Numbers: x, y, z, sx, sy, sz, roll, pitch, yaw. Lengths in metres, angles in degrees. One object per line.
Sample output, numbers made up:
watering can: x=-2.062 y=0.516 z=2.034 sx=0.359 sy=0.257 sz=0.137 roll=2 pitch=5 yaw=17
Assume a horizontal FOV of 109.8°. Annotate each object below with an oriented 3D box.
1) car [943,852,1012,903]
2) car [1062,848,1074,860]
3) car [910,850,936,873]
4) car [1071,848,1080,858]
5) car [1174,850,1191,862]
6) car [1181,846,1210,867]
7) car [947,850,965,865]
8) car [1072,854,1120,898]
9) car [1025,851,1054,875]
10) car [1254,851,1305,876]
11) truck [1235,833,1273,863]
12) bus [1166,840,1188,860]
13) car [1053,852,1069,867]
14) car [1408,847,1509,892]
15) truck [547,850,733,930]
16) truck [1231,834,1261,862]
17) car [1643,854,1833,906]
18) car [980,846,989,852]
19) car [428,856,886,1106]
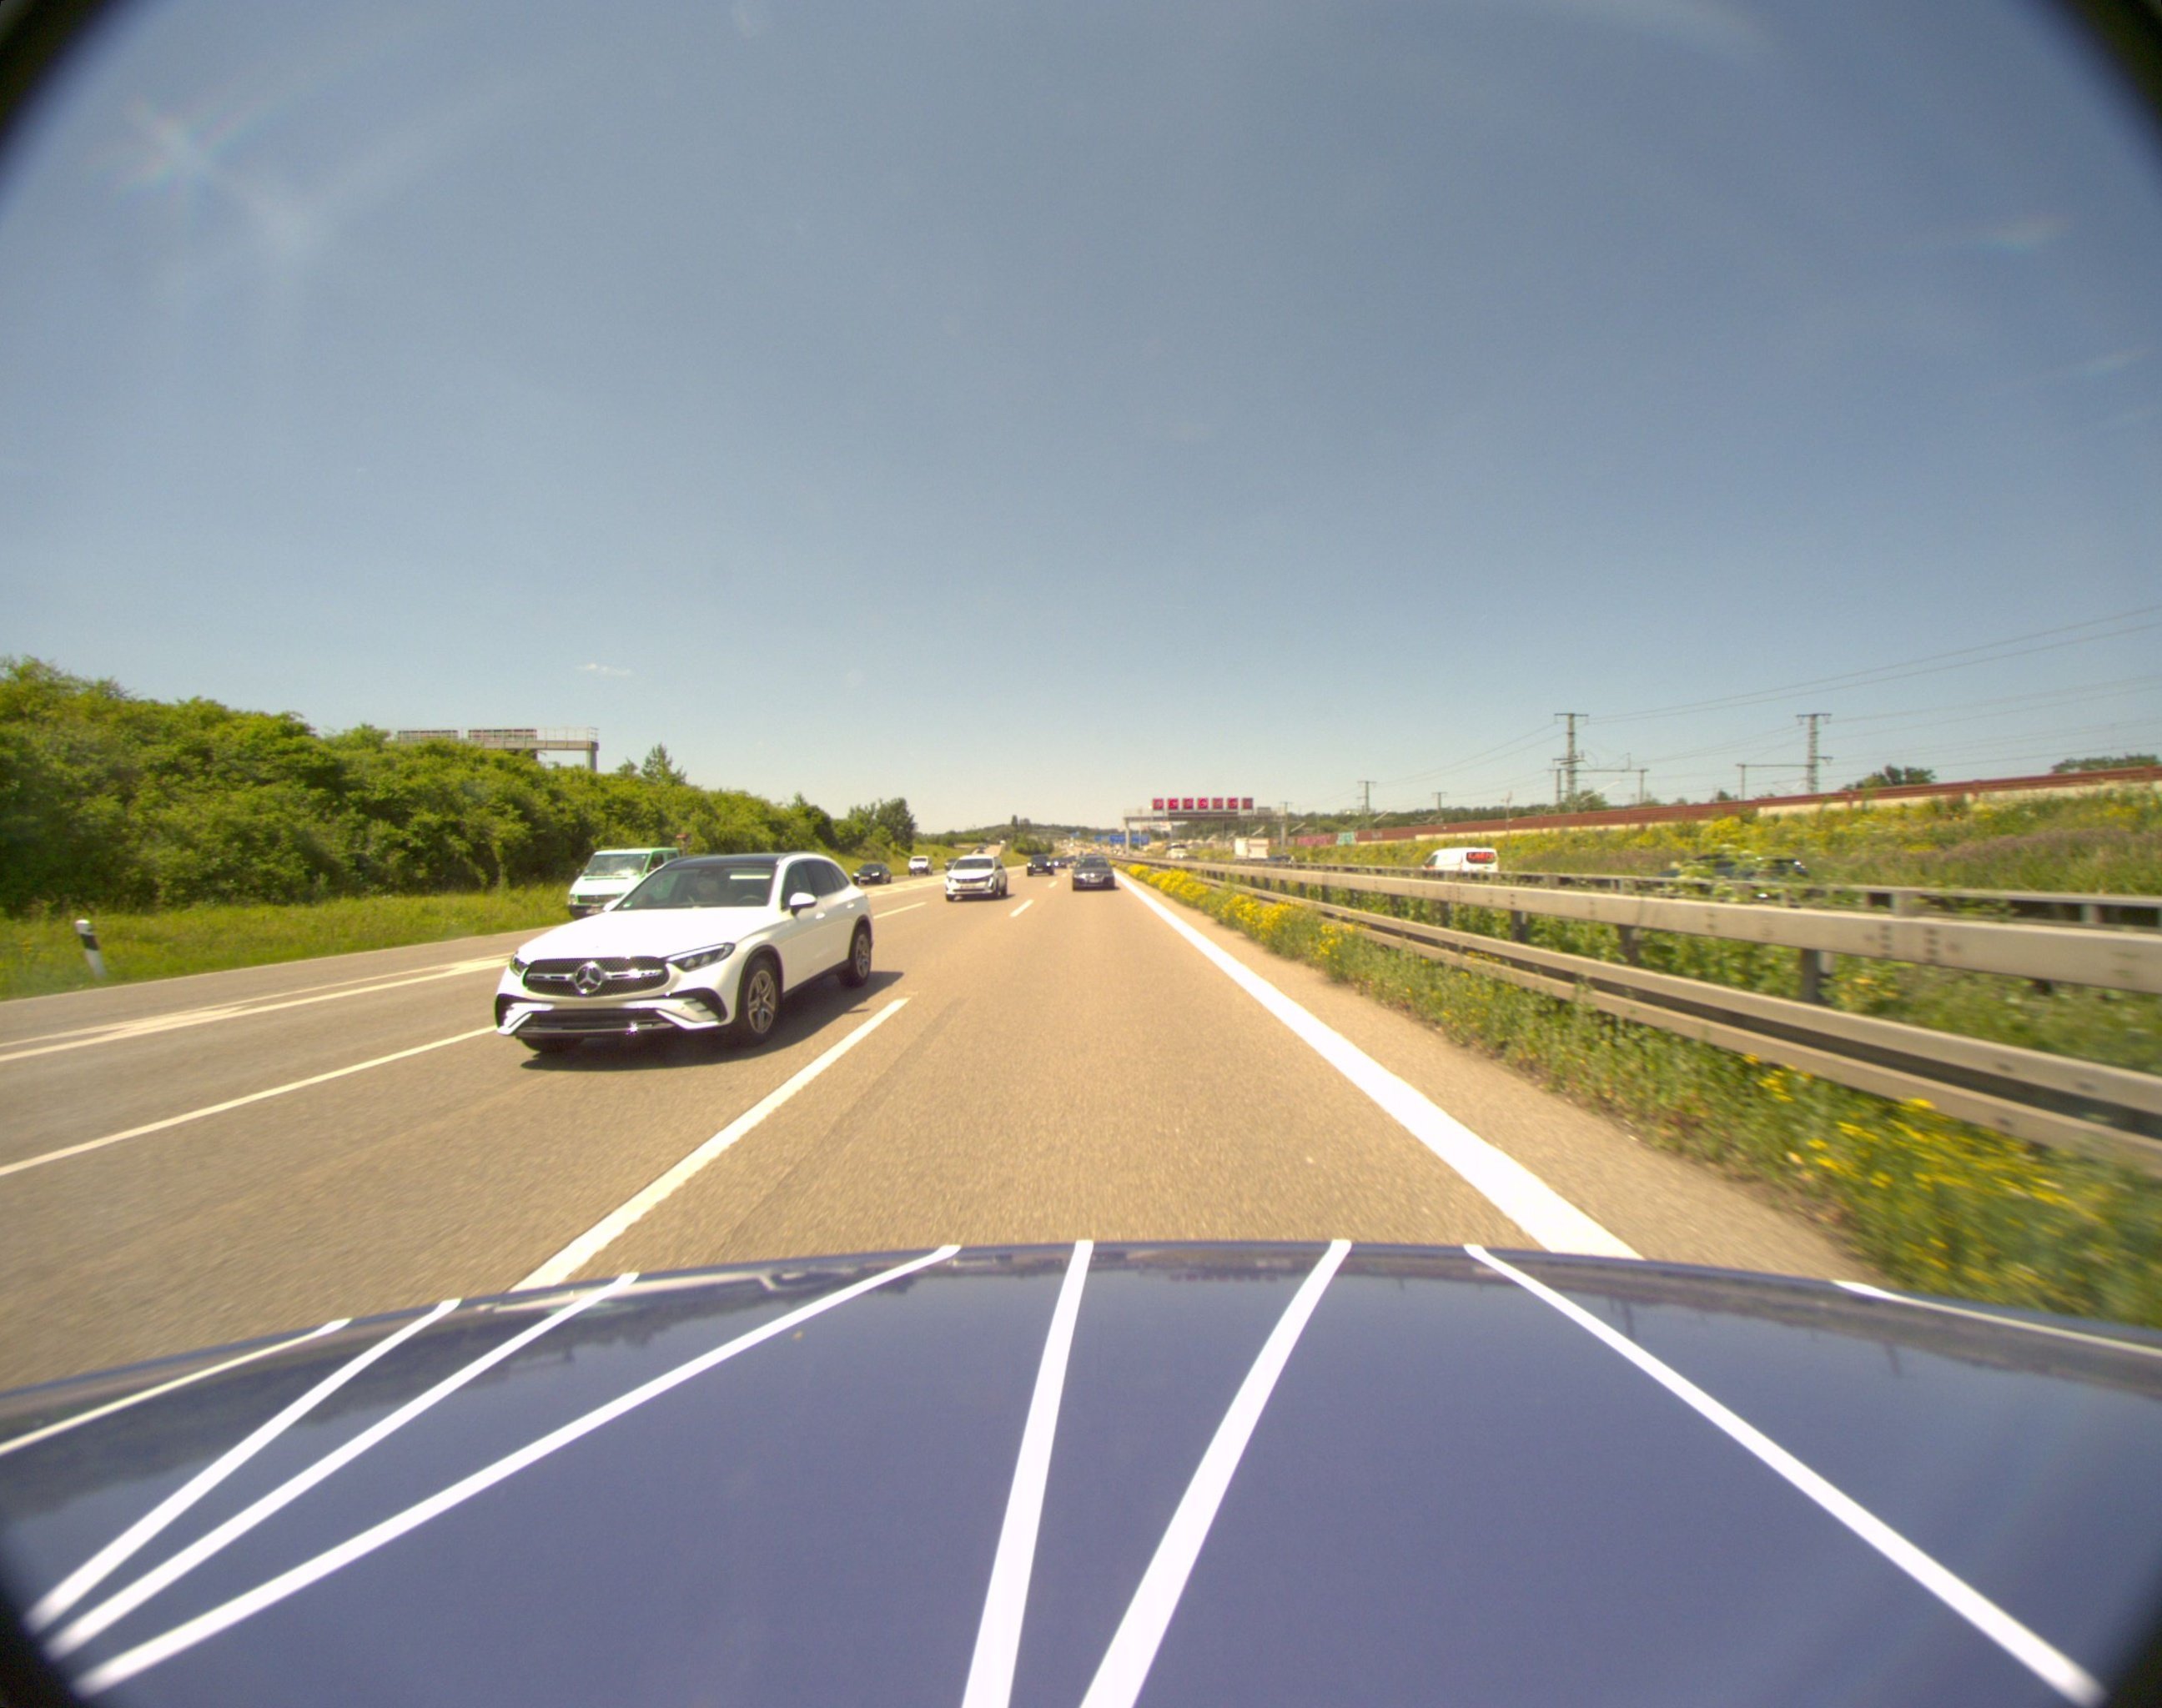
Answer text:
car: x=-3.792 y=0.808 z=28.563 sx=1.898 sy=1.620 sz=4.616 roll=-2 pitch=1 yaw=0
car: x=-2.317 y=-0.002 z=137.742 sx=1.999 sy=2.002 sz=3.999 roll=-2 pitch=1 yaw=0
car: x=-15.834 y=0.762 z=76.428 sx=2.000 sy=2.159 sz=4.890 roll=-1 pitch=0 yaw=-7
car: x=-1.265 y=-0.238 z=172.550 sx=1.999 sy=2.002 sz=3.999 roll=-2 pitch=1 yaw=0
car: x=14.219 y=0.222 z=106.478 sx=1.925 sy=1.601 sz=4.000 roll=1 pitch=0 yaw=1
car: x=9.933 y=0.233 z=66.013 sx=1.998 sy=1.710 sz=4.000 roll=-1 pitch=0 yaw=1
car: x=-17.522 y=0.472 z=106.927 sx=1.999 sy=2.002 sz=3.998 roll=-3 pitch=2 yaw=-3
car: x=0.545 y=0.802 z=30.049 sx=1.752 sy=1.462 sz=3.998 roll=-2 pitch=2 yaw=0
car: x=-3.201 y=0.657 z=59.277 sx=1.983 sy=1.620 sz=4.615 roll=-2 pitch=1 yaw=-1
car: x=13.071 y=0.590 z=50.381 sx=1.925 sy=1.601 sz=5.396 roll=1 pitch=0 yaw=0
truck: x=21.113 y=-0.737 z=93.266 sx=2.864 sy=3.446 sz=7.780 roll=-3 pitch=0 yaw=1
bus: x=18.236 y=-0.737 z=144.895 sx=2.864 sy=3.624 sz=10.940 roll=-3 pitch=0 yaw=1
car: x=-2.299 y=0.620 z=86.024 sx=1.752 sy=1.462 sz=3.998 roll=-2 pitch=2 yaw=-2
car: x=16.408 y=0.629 z=33.397 sx=1.925 sy=1.790 sz=5.196 roll=1 pitch=0 yaw=1
truck: x=-13.183 y=0.943 z=23.364 sx=2.170 sy=2.080 sz=6.117 roll=-1 pitch=0 yaw=-1
truck: x=21.201 y=-0.758 z=97.813 sx=2.855 sy=3.446 sz=4.023 roll=-3 pitch=0 yaw=1
car: x=19.985 y=0.716 z=23.452 sx=1.925 sy=1.409 sz=4.584 roll=1 pitch=0 yaw=1
car: x=-27.703 y=-1.351 z=217.291 sx=1.983 sy=1.620 sz=4.615 roll=-2 pitch=1 yaw=-1
car: x=-3.577 y=0.908 z=7.670 sx=1.909 sy=1.646 sz=4.636 roll=-2 pitch=0 yaw=1
